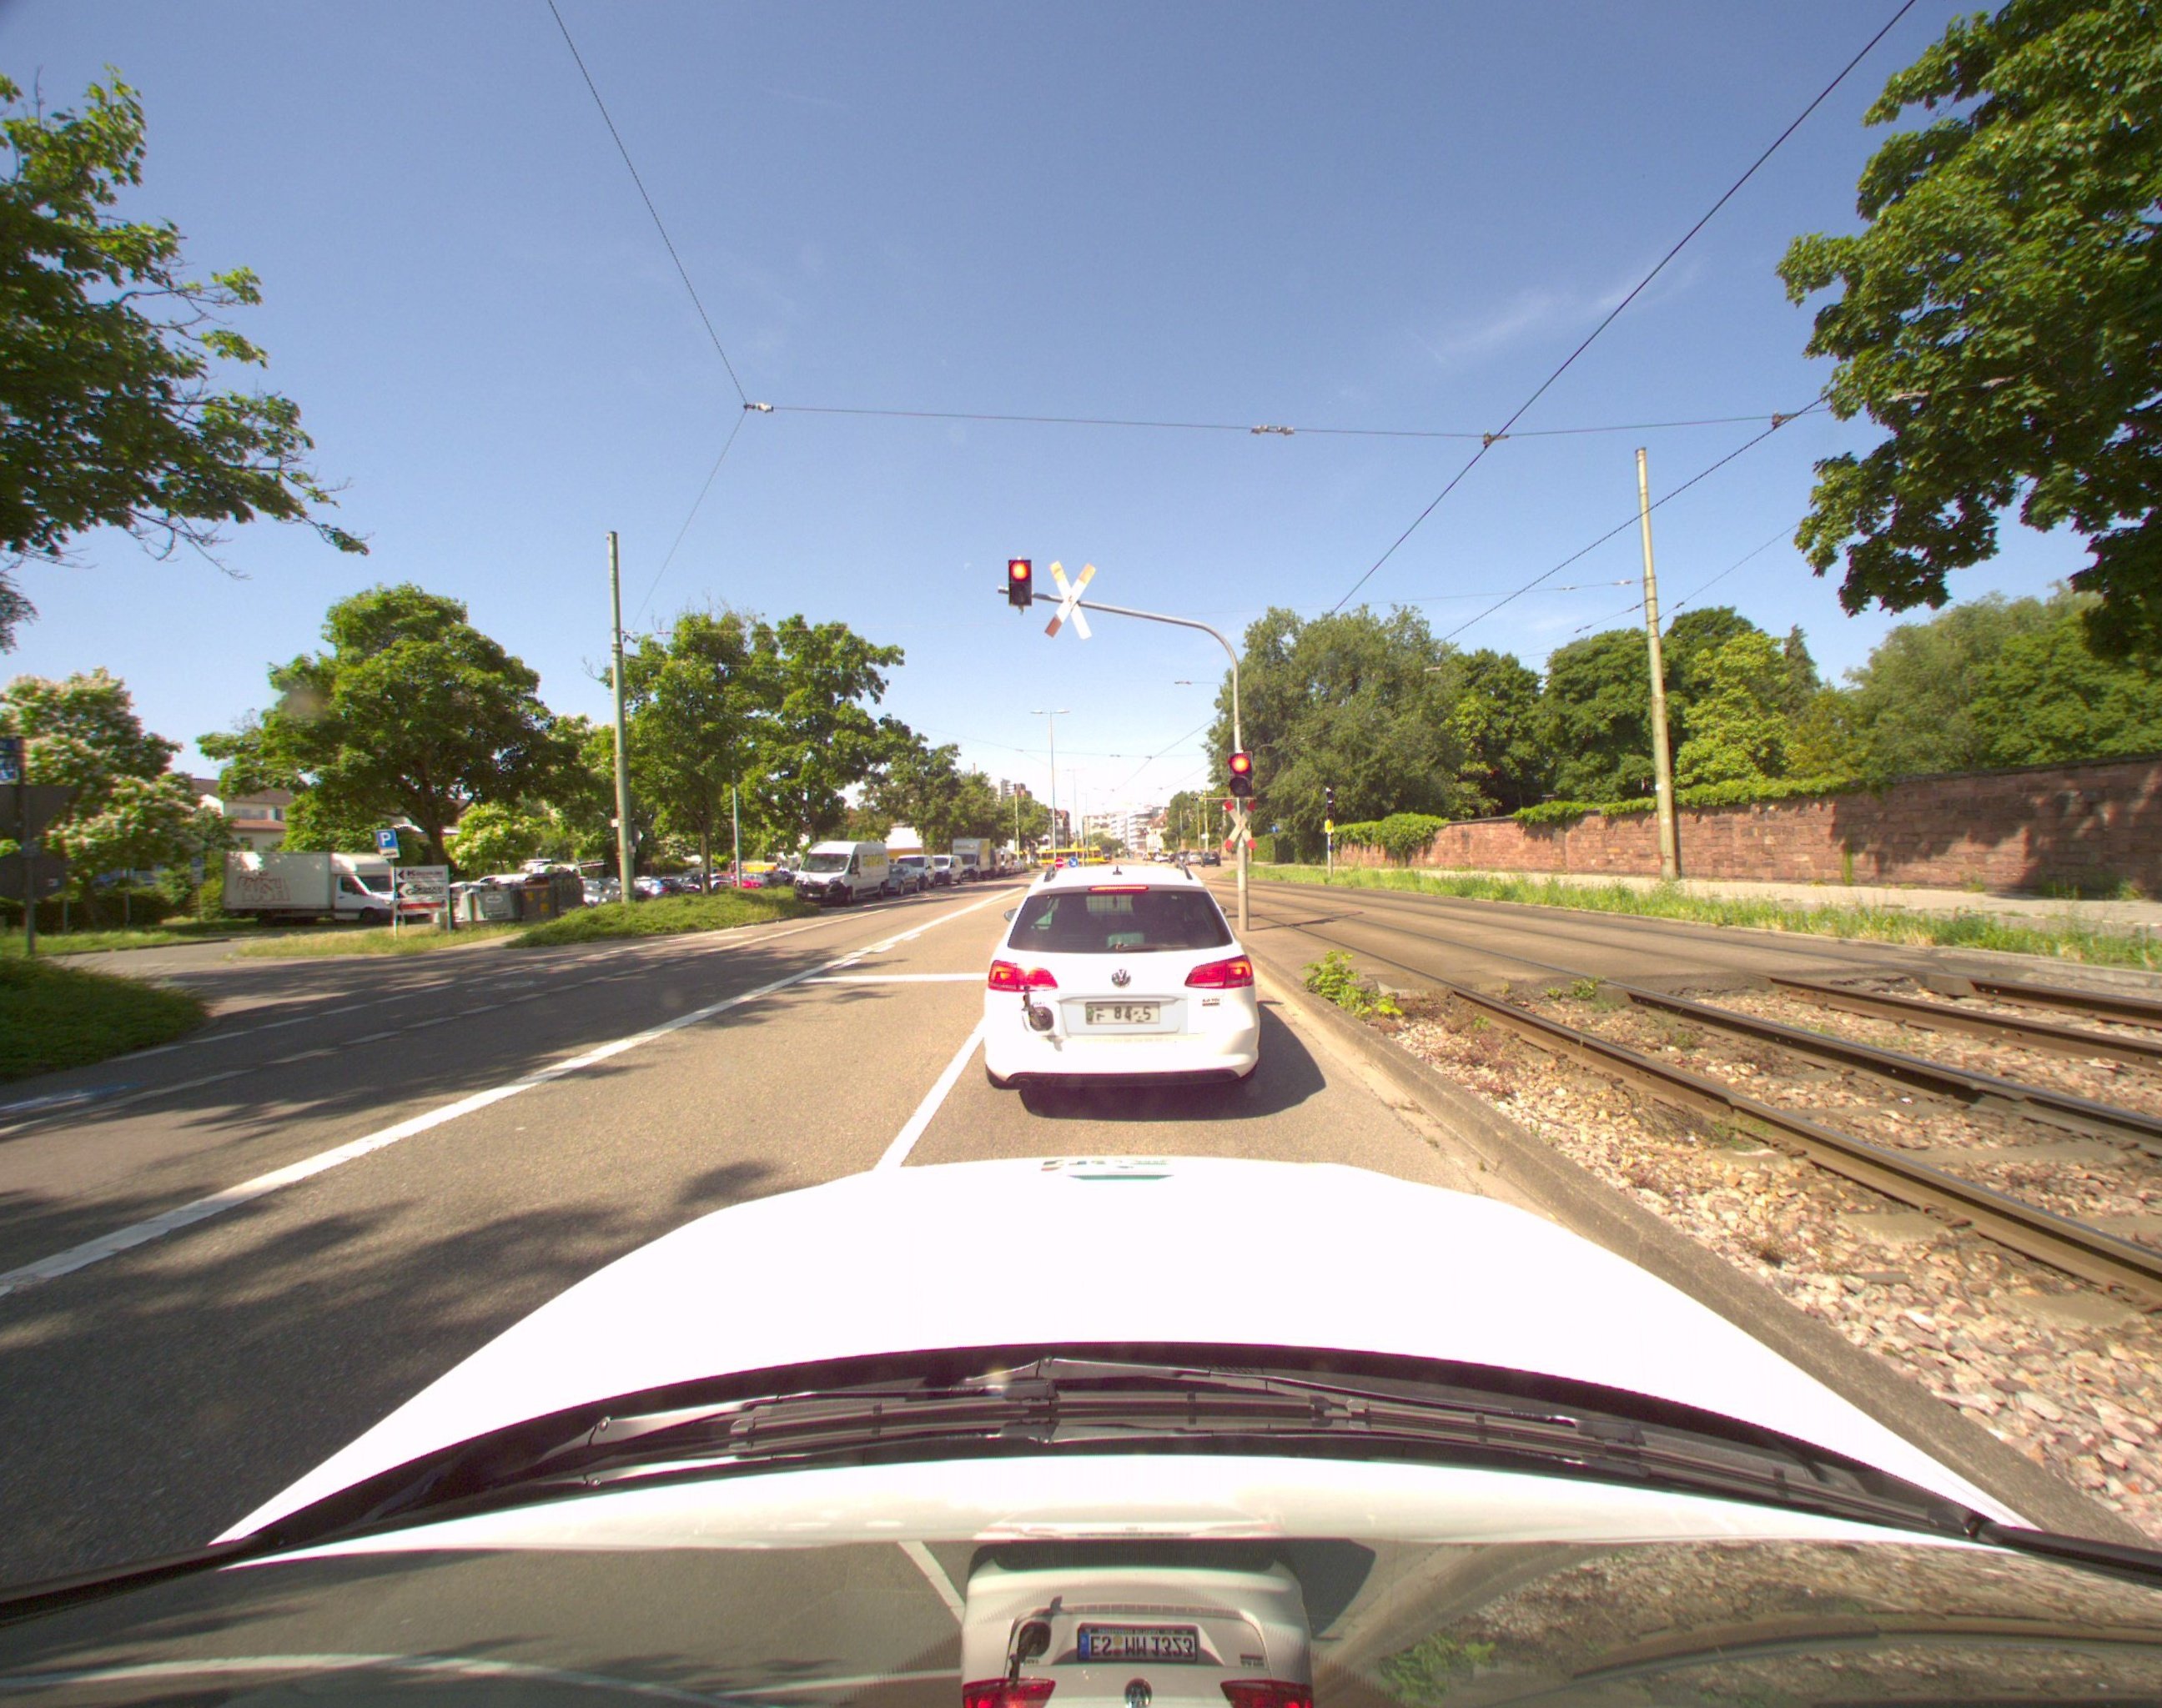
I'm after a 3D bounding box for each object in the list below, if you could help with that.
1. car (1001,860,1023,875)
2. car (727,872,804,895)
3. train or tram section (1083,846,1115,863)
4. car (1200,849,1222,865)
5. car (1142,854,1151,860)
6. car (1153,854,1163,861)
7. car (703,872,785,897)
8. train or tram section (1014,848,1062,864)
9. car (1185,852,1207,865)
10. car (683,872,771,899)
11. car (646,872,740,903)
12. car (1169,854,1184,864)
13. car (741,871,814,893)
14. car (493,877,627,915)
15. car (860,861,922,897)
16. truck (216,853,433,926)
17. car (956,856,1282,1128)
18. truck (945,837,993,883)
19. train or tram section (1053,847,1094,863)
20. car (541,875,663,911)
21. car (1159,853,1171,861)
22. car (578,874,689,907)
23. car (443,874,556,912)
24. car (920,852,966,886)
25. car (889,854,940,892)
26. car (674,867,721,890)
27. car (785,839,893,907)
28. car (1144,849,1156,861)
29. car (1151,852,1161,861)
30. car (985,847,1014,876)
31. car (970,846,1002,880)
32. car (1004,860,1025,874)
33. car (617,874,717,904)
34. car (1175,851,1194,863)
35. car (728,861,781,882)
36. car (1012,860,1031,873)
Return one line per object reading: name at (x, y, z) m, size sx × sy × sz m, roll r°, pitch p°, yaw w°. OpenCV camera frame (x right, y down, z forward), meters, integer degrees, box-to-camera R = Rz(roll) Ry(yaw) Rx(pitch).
car at (-7.234, 1.391, 85.853) m, size 1.837 × 1.433 × 4.039 m, roll -3°, pitch 0°, yaw 2°
car at (-19.431, 1.810, 50.179) m, size 3.969 × 1.225 × 1.773 m, roll -3°, pitch 0°, yaw 4°
train or tram section at (3.490, 0.205, 161.975) m, size 2.310 × 3.253 × 11.191 m, roll 0°, pitch -1°, yaw -22°
car at (11.928, 0.290, 74.670) m, size 1.737 × 1.388 × 3.919 m, roll -1°, pitch 0°, yaw 5°
car at (15.649, 0.726, 193.539) m, size 1.986 × 1.596 × 4.002 m, roll 0°, pitch -1°, yaw 2°
car at (14.021, 0.671, 148.103) m, size 1.576 × 1.346 × 3.455 m, roll 0°, pitch -1°, yaw 1°
car at (-19.656, 1.777, 47.543) m, size 3.969 × 1.225 × 1.773 m, roll -3°, pitch 0°, yaw 4°
train or tram section at (-9.437, 0.443, 177.102) m, size 10.878 × 3.253 × 2.323 m, roll -1°, pitch -1°, yaw 29°
car at (12.533, 0.475, 89.190) m, size 1.855 × 1.416 × 4.325 m, roll 0°, pitch 0°, yaw 1°
car at (-19.515, 1.728, 44.979) m, size 3.969 × 1.264 × 1.773 m, roll -3°, pitch 0°, yaw 4°
car at (-20.232, 1.720, 42.539) m, size 3.969 × 1.350 × 1.773 m, roll -3°, pitch 0°, yaw 4°
car at (13.596, 0.688, 115.929) m, size 1.740 × 1.407 × 3.913 m, roll 0°, pitch 0°, yaw 0°
car at (-19.519, 1.788, 52.473) m, size 3.969 × 1.225 × 1.773 m, roll -3°, pitch 0°, yaw 4°
car at (-20.010, 1.597, 31.387) m, size 3.974 × 1.225 × 1.771 m, roll -3°, pitch 0°, yaw 0°
car at (-9.060, 1.150, 39.154) m, size 1.837 × 1.516 × 4.199 m, roll -3°, pitch 0°, yaw 2°
truck at (-32.424, 1.485, 35.082) m, size 7.119 × 3.019 × 2.231 m, roll 0°, pitch 0°, yaw -1°
car at (0.244, 0.755, 6.377) m, size 1.762 × 1.446 × 3.914 m, roll 0°, pitch 0°, yaw 1°
truck at (-8.282, 0.396, 60.766) m, size 2.348 × 3.122 × 6.892 m, roll -3°, pitch 0°, yaw 1°
train or tram section at (-1.677, 0.331, 170.667) m, size 2.321 × 3.253 × 10.679 m, roll 1°, pitch -1°, yaw -40°
car at (-19.897, 1.594, 33.956) m, size 3.974 × 1.225 × 1.771 m, roll -3°, pitch 0°, yaw 0°
car at (13.935, 0.517, 135.214) m, size 1.576 × 1.346 × 3.455 m, roll 0°, pitch -1°, yaw 1°
car at (-20.093, 1.630, 36.664) m, size 3.969 × 1.225 × 1.773 m, roll -3°, pitch 0°, yaw 4°
car at (-32.238, 2.126, 45.256) m, size 4.683 × 2.014 × 1.997 m, roll 0°, pitch -1°, yaw -4°
car at (-8.816, 0.922, 52.403) m, size 1.836 × 1.960 × 5.137 m, roll -3°, pitch 0°, yaw 2°
car at (-9.259, 1.003, 45.621) m, size 1.839 × 1.937 × 5.189 m, roll -3°, pitch 0°, yaw -2°
car at (-34.331, 2.164, 72.973) m, size 3.412 × 1.876 × 1.552 m, roll -3°, pitch 0°, yaw -1°
car at (-9.577, 0.679, 32.967) m, size 2.049 × 2.501 × 6.315 m, roll 0°, pitch 0°, yaw 4°
car at (15.121, 0.213, 178.575) m, size 2.454 × 2.499 × 5.912 m, roll 0°, pitch -1°, yaw 1°
car at (14.611, 0.503, 158.648) m, size 1.685 × 1.812 × 3.455 m, roll 0°, pitch -1°, yaw 1°
car at (-7.606, 0.682, 76.354) m, size 1.836 × 2.494 × 5.860 m, roll -3°, pitch 0°, yaw 2°
car at (-7.935, 0.738, 68.525) m, size 1.836 × 2.668 × 5.006 m, roll -3°, pitch 0°, yaw 2°
car at (-7.448, 1.479, 91.673) m, size 1.837 × 1.433 × 4.039 m, roll -3°, pitch 0°, yaw 2°
car at (-20.252, 1.697, 39.941) m, size 3.969 × 1.225 × 1.773 m, roll -3°, pitch 0°, yaw 4°
car at (13.016, 0.393, 102.725) m, size 1.855 × 1.513 × 3.913 m, roll 0°, pitch 0°, yaw 0°
car at (-31.247, 1.671, 77.995) m, size 4.249 × 2.014 × 1.997 m, roll 0°, pitch -1°, yaw -5°
car at (-7.098, 1.456, 96.999) m, size 1.774 × 1.433 × 4.039 m, roll -3°, pitch 0°, yaw 2°
